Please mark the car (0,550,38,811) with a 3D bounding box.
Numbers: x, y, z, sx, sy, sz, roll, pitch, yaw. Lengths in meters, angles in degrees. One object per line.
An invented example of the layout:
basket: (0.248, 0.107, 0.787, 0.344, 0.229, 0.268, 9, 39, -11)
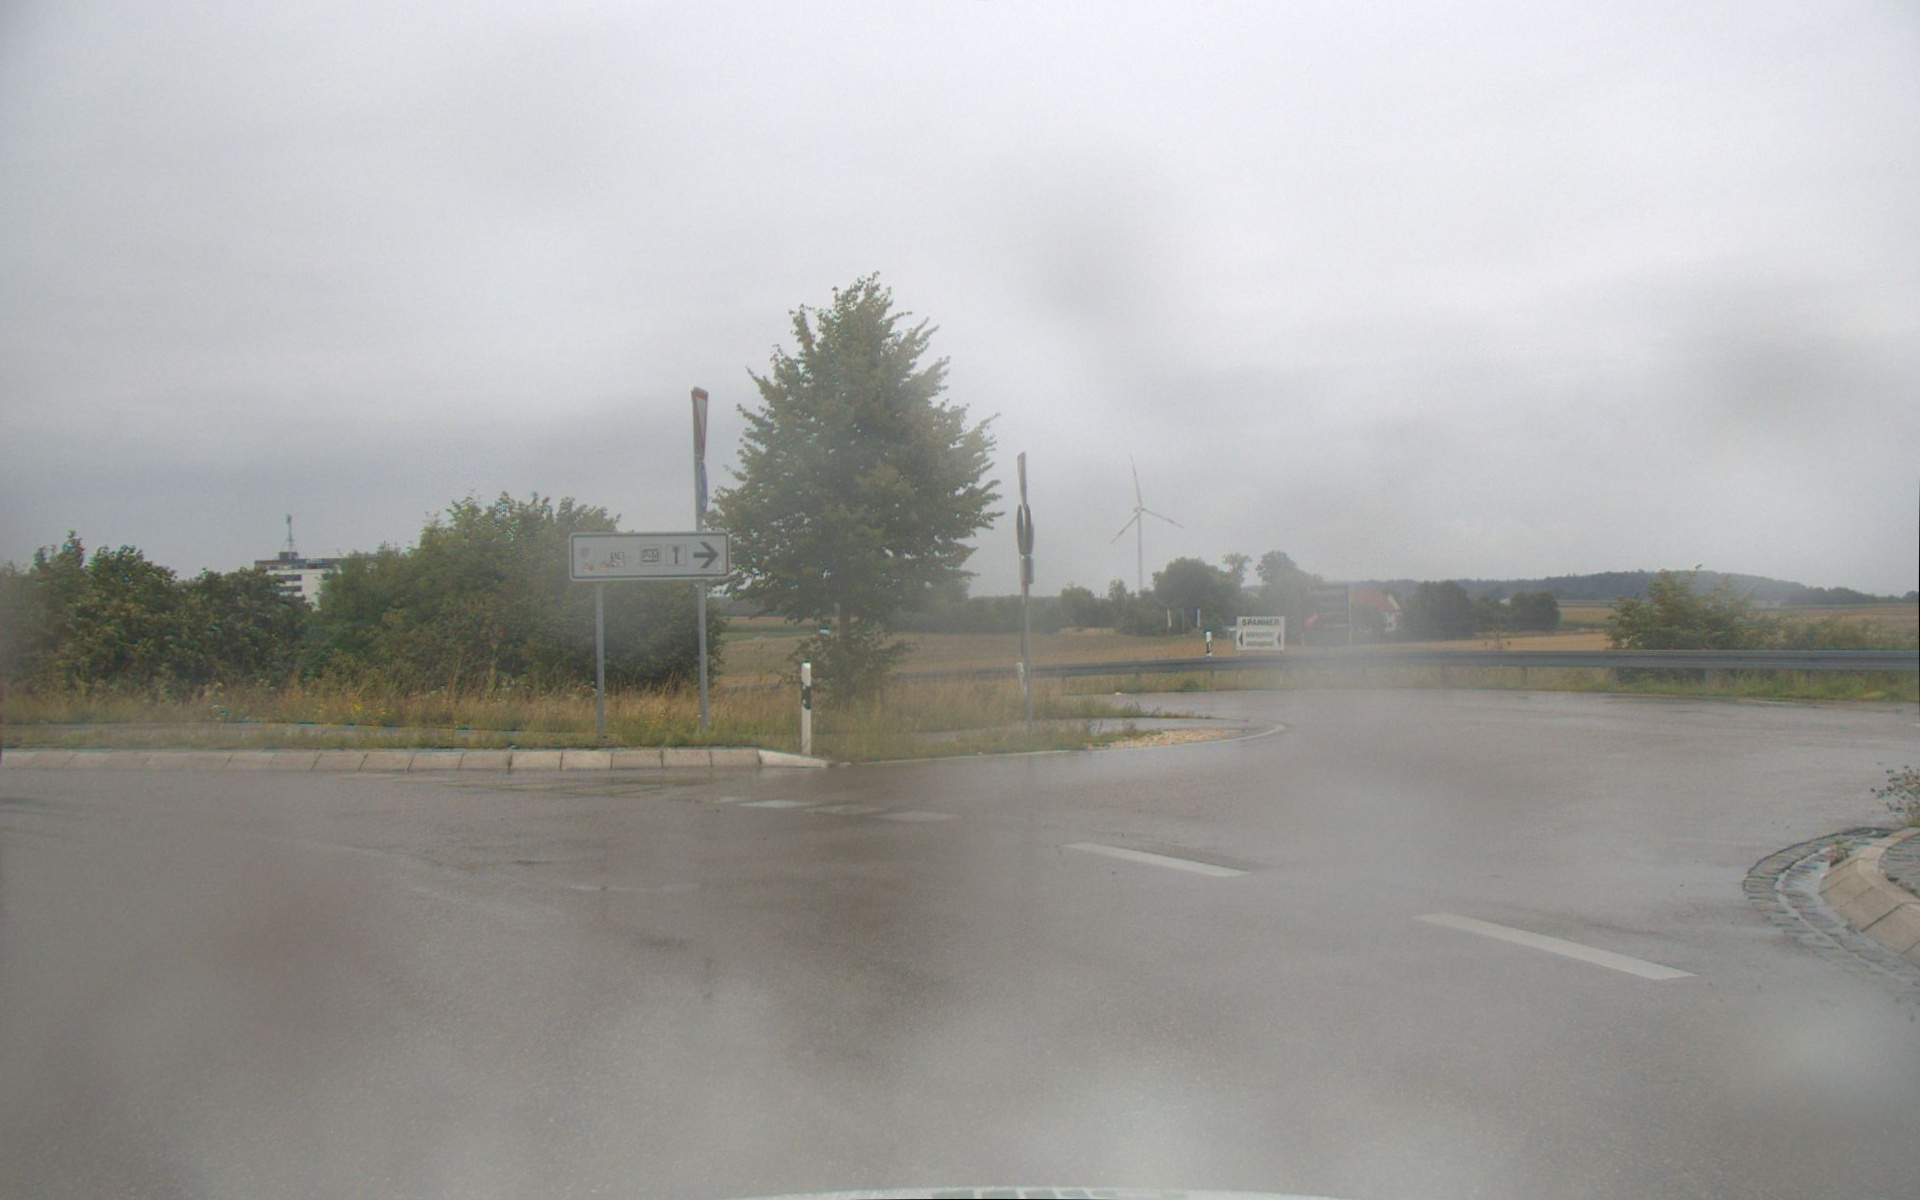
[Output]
car: (-9.411, 0.621, 12.825, 4.876, 1.903, 1.994, -1, 1, 35)
